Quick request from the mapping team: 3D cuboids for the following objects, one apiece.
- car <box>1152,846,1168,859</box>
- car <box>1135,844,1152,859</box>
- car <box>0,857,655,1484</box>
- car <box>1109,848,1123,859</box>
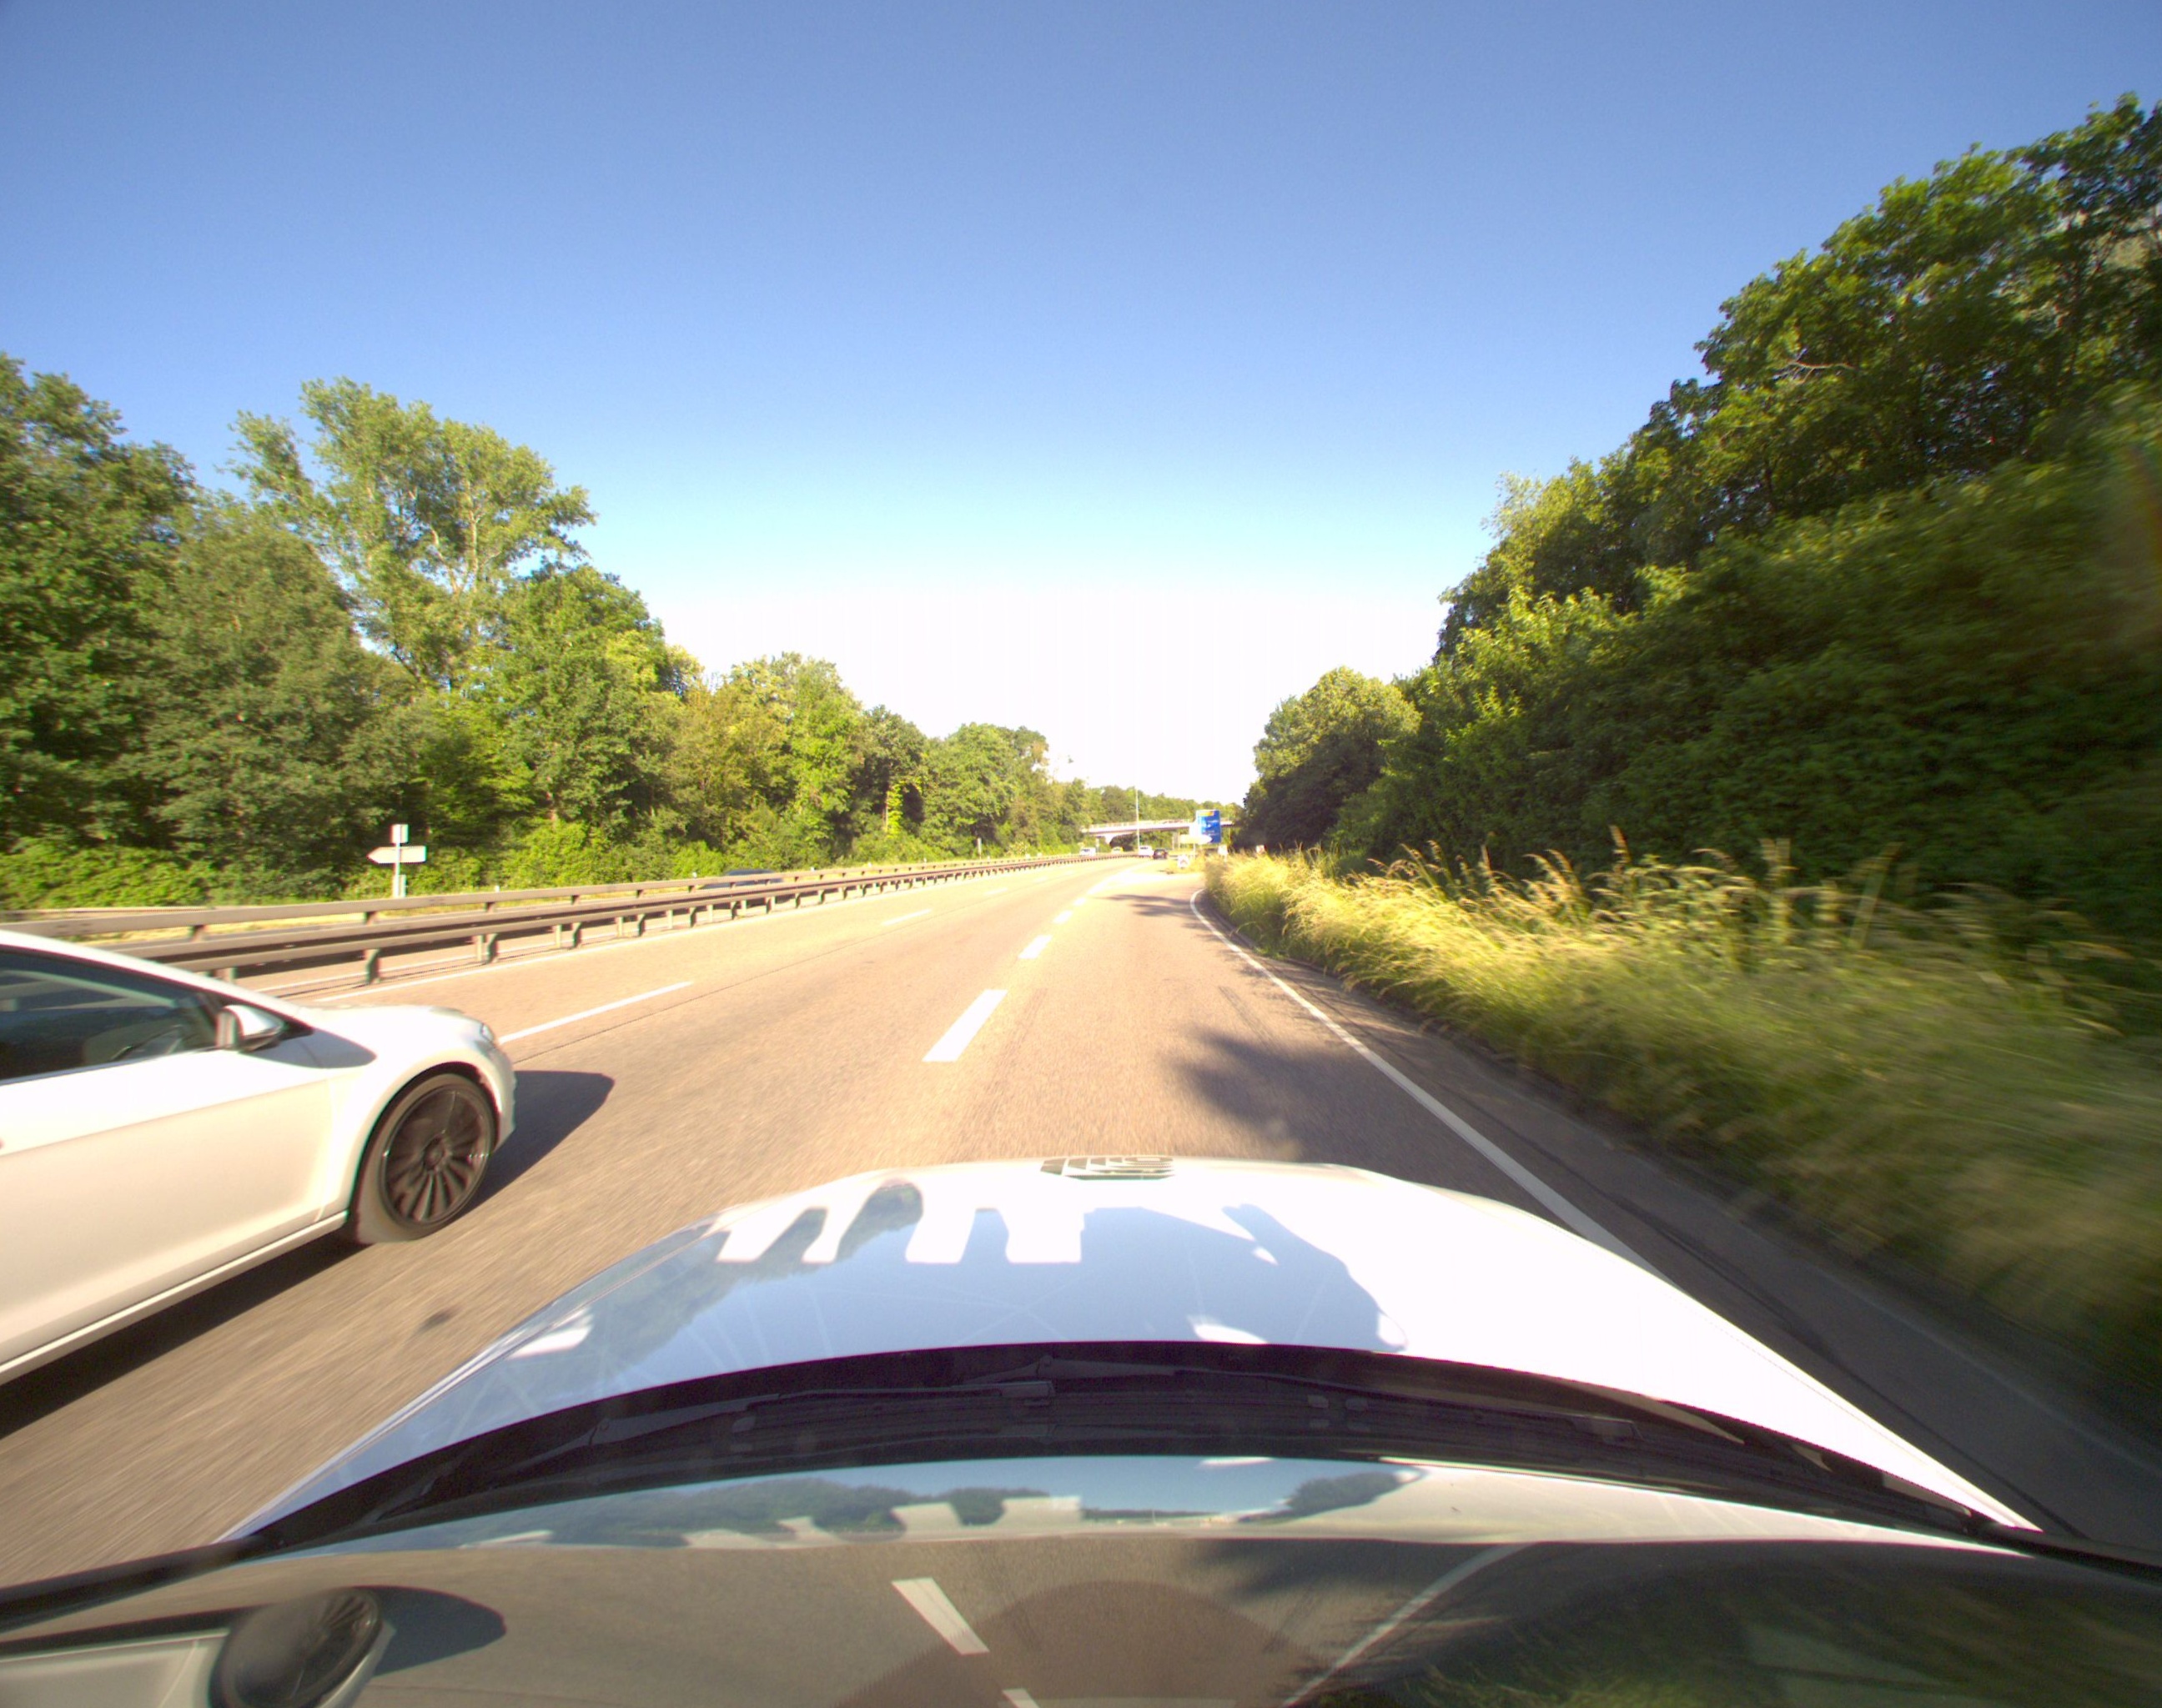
[{"bbox_3d":[10.485,-0.224,108.324,1.728,1.662,3.957,-2,0,11],"label":"car"},{"bbox_3d":[9.374,-0.381,122.161,1.980,2.277,4.013,-2,0,12],"label":"car"},{"bbox_3d":[-3.577,0.778,1.984,1.921,1.508,5.602,-1,0,2],"label":"car"},{"bbox_3d":[6.885,-0.081,158.846,1.980,2.013,4.013,-2,0,12],"label":"car"}]
